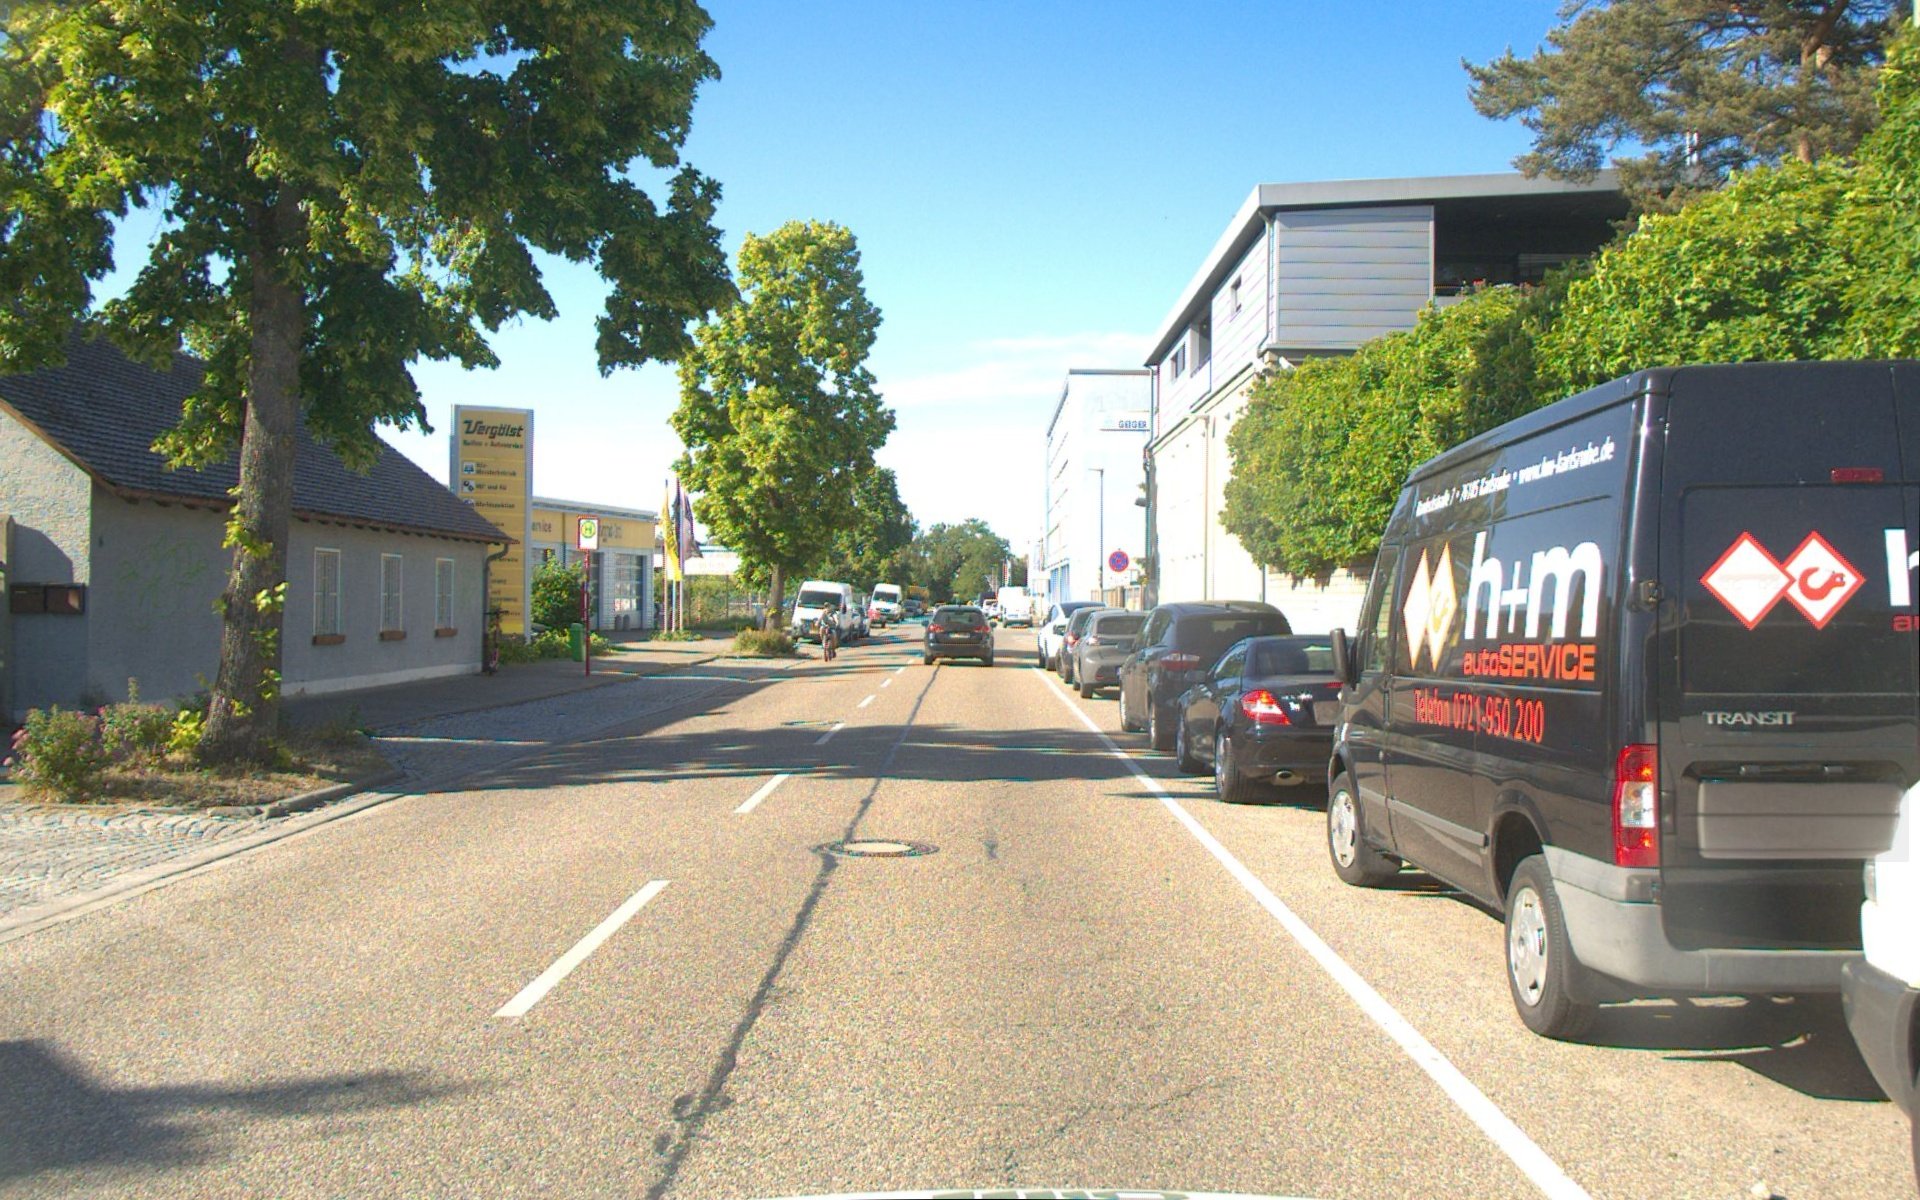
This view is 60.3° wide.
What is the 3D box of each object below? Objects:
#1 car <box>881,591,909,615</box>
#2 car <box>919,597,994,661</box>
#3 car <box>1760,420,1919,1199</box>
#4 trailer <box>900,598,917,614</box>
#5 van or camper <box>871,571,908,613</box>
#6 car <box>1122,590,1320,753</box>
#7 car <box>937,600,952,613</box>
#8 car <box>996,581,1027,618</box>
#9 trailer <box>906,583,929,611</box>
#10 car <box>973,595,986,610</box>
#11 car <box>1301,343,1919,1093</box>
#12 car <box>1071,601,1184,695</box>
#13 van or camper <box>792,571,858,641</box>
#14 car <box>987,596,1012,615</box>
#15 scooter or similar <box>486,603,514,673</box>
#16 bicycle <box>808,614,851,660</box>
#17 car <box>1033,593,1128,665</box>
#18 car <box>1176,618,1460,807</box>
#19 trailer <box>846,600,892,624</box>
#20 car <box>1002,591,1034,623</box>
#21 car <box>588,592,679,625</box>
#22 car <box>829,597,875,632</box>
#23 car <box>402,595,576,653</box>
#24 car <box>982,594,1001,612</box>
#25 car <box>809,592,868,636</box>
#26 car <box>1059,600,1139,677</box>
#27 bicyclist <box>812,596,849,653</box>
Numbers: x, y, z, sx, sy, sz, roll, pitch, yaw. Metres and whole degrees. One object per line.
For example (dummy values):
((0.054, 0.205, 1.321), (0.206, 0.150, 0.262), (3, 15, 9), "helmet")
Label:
((-5.118, 0.236, 130.463), (1.989, 1.723, 5.105), (4, 0, -1), "car")
((-0.051, 0.695, 42.092), (1.809, 1.557, 4.000), (0, 0, 1), "car")
((3.160, 0.560, 2.208), (1.853, 1.959, 4.921), (0, 0, 1), "car")
((-4.701, 0.562, 151.690), (1.446, 1.378, 3.078), (2, 0, 0), "trailer")
((-4.963, -0.542, 117.335), (1.926, 2.731, 5.949), (5, 0, 2), "van or camper")
((2.913, 0.738, 19.269), (1.647, 1.642, 4.205), (2, 0, 1), "car")
((-1.777, 0.752, 193.974), (1.711, 1.473, 4.360), (0, 0, 0), "car")
((3.888, -0.057, 126.120), (1.953, 2.643, 6.050), (-2, 1, -1), "car")
((-5.418, -0.351, 210.772), (2.930, 3.503, 8.159), (0, 0, -1), "trailer")
((2.959, 0.400, 248.296), (1.836, 2.049, 5.160), (2, -1, 0), "car")
((3.007, 0.351, 7.647), (1.853, 2.299, 5.146), (0, 0, 1), "car")
((2.879, 0.786, 29.162), (1.625, 1.531, 4.032), (0, 0, 1), "car")
((-5.518, 0.207, 68.418), (2.028, 2.593, 6.403), (4, 0, 0), "van or camper")
((3.284, 0.465, 137.433), (1.856, 1.430, 5.123), (2, -1, 0), "car")
((-8.800, 0.713, 31.638), (0.474, 1.293, 1.571), (1, 0, -17), "scooter or similar")
((-3.712, 1.041, 47.305), (0.822, 1.261, 2.605), (3, -1, 3), "bicycle")
((2.935, 0.672, 41.177), (1.892, 1.673, 4.768), (0, 0, -1), "car")
((2.928, 0.855, 14.335), (1.620, 1.341, 4.104), (0, 0, 1), "car")
((-5.388, 0.697, 98.568), (2.328, 1.098, 6.245), (4, 1, 0), "trailer")
((3.505, 0.422, 100.030), (1.850, 1.864, 5.091), (1, 0, 1), "car")
((-16.485, 0.412, 83.523), (4.069, 1.601, 1.918), (0, 0, 10), "car")
((-5.139, 0.666, 79.250), (1.763, 1.536, 5.003), (4, 0, 1), "car")
((-13.138, 0.651, 46.219), (4.252, 1.534, 2.002), (0, 0, 14), "car")
((3.434, 0.368, 181.784), (1.847, 1.829, 5.102), (2, -1, -1), "car")
((-5.392, 0.593, 73.969), (1.952, 1.768, 4.576), (4, 0, 3), "car")
((2.875, 0.758, 34.592), (1.565, 1.498, 4.191), (0, 0, 4), "car")
((-3.700, 0.708, 47.313), (0.822, 1.569, 1.137), (3, -1, 3), "bicyclist")
